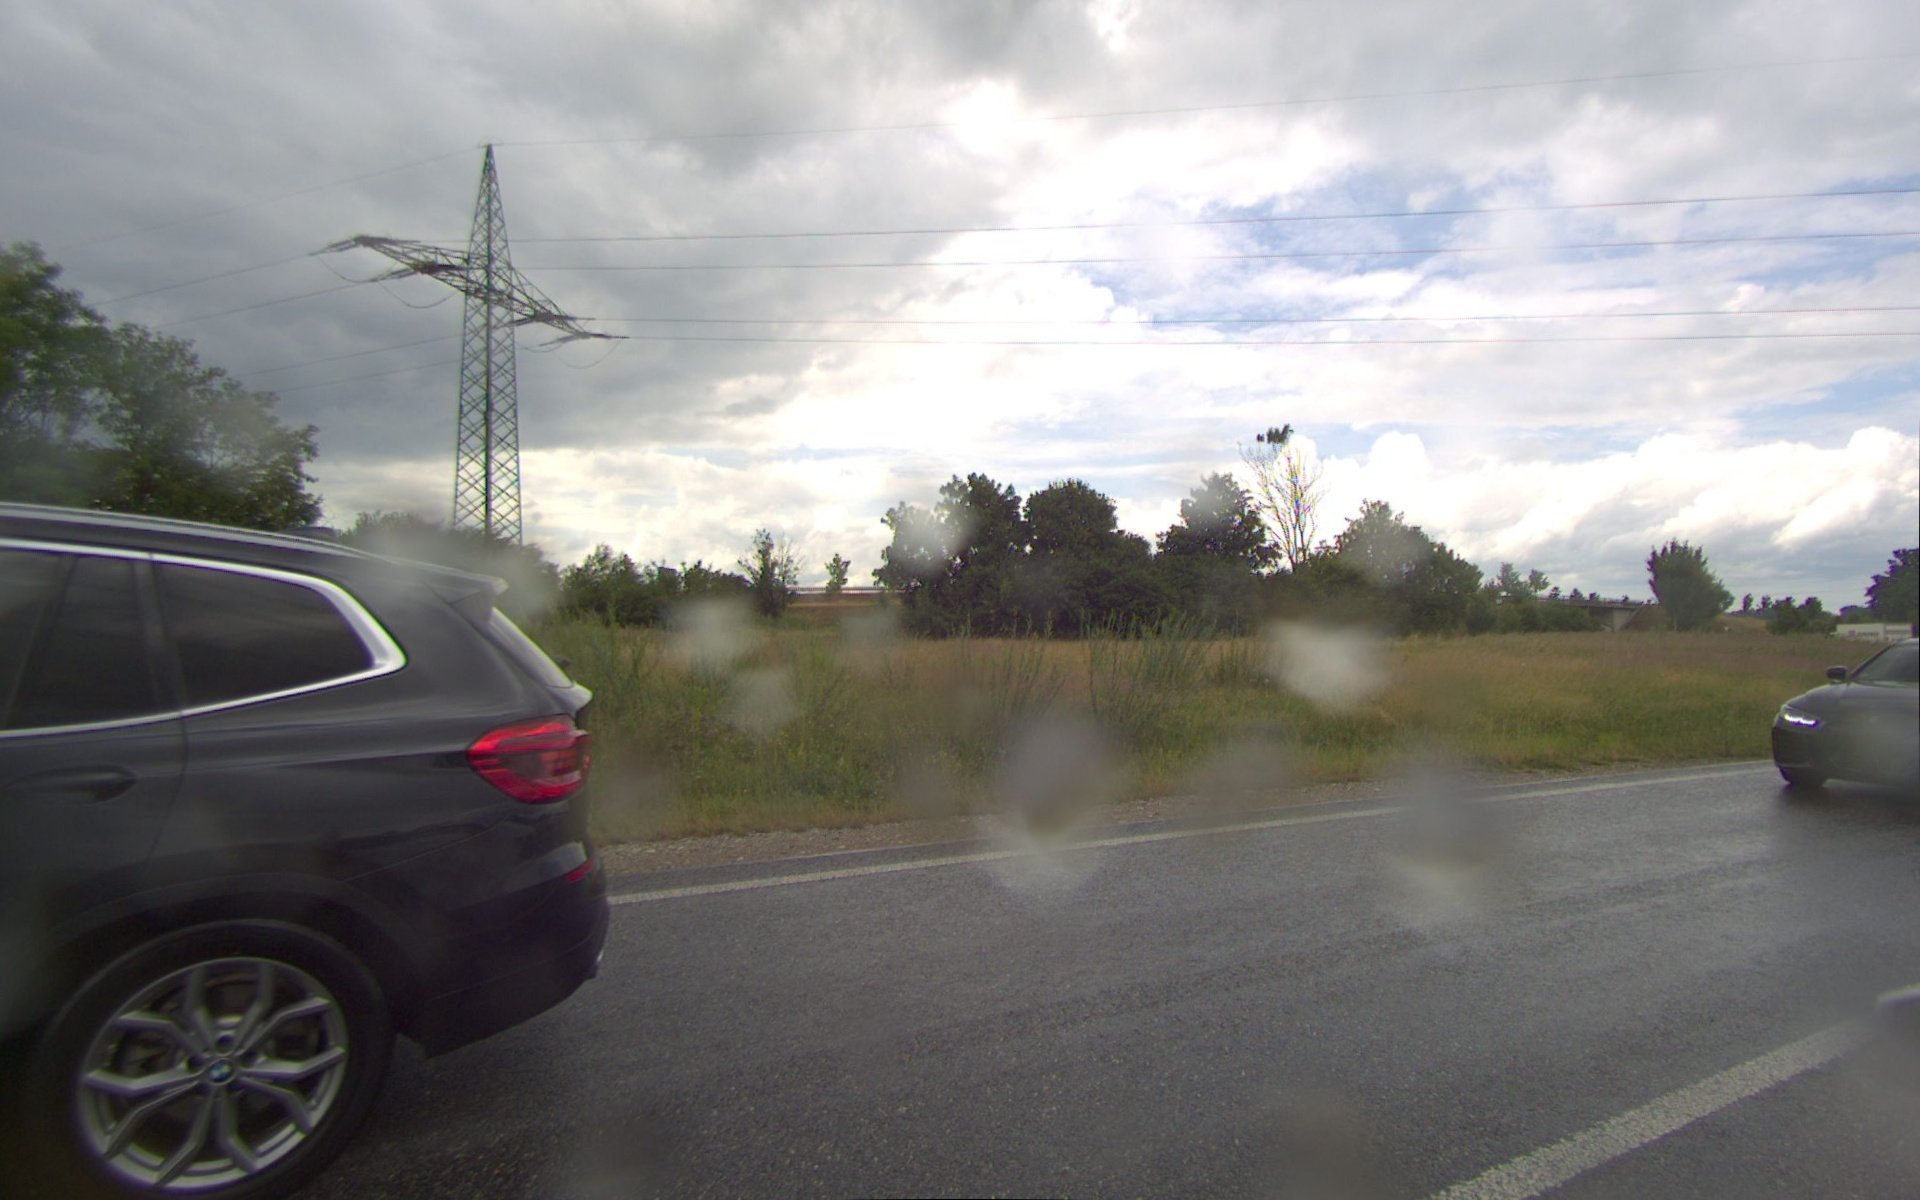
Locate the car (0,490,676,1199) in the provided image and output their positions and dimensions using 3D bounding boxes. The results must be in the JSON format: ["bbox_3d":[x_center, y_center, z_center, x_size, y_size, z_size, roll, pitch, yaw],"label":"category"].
[{"bbox_3d":[-3.195,0.576,2.509,4.479,1.653,1.841,2,-1,-29],"label":"car"}]

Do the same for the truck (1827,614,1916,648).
[{"bbox_3d":[95.538,3.139,105.537,2.962,3.252,8.238,3,0,11],"label":"truck"}]

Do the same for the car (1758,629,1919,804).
[{"bbox_3d":[9.762,1.045,9.698,4.041,1.467,1.841,2,-2,-29],"label":"car"}]
